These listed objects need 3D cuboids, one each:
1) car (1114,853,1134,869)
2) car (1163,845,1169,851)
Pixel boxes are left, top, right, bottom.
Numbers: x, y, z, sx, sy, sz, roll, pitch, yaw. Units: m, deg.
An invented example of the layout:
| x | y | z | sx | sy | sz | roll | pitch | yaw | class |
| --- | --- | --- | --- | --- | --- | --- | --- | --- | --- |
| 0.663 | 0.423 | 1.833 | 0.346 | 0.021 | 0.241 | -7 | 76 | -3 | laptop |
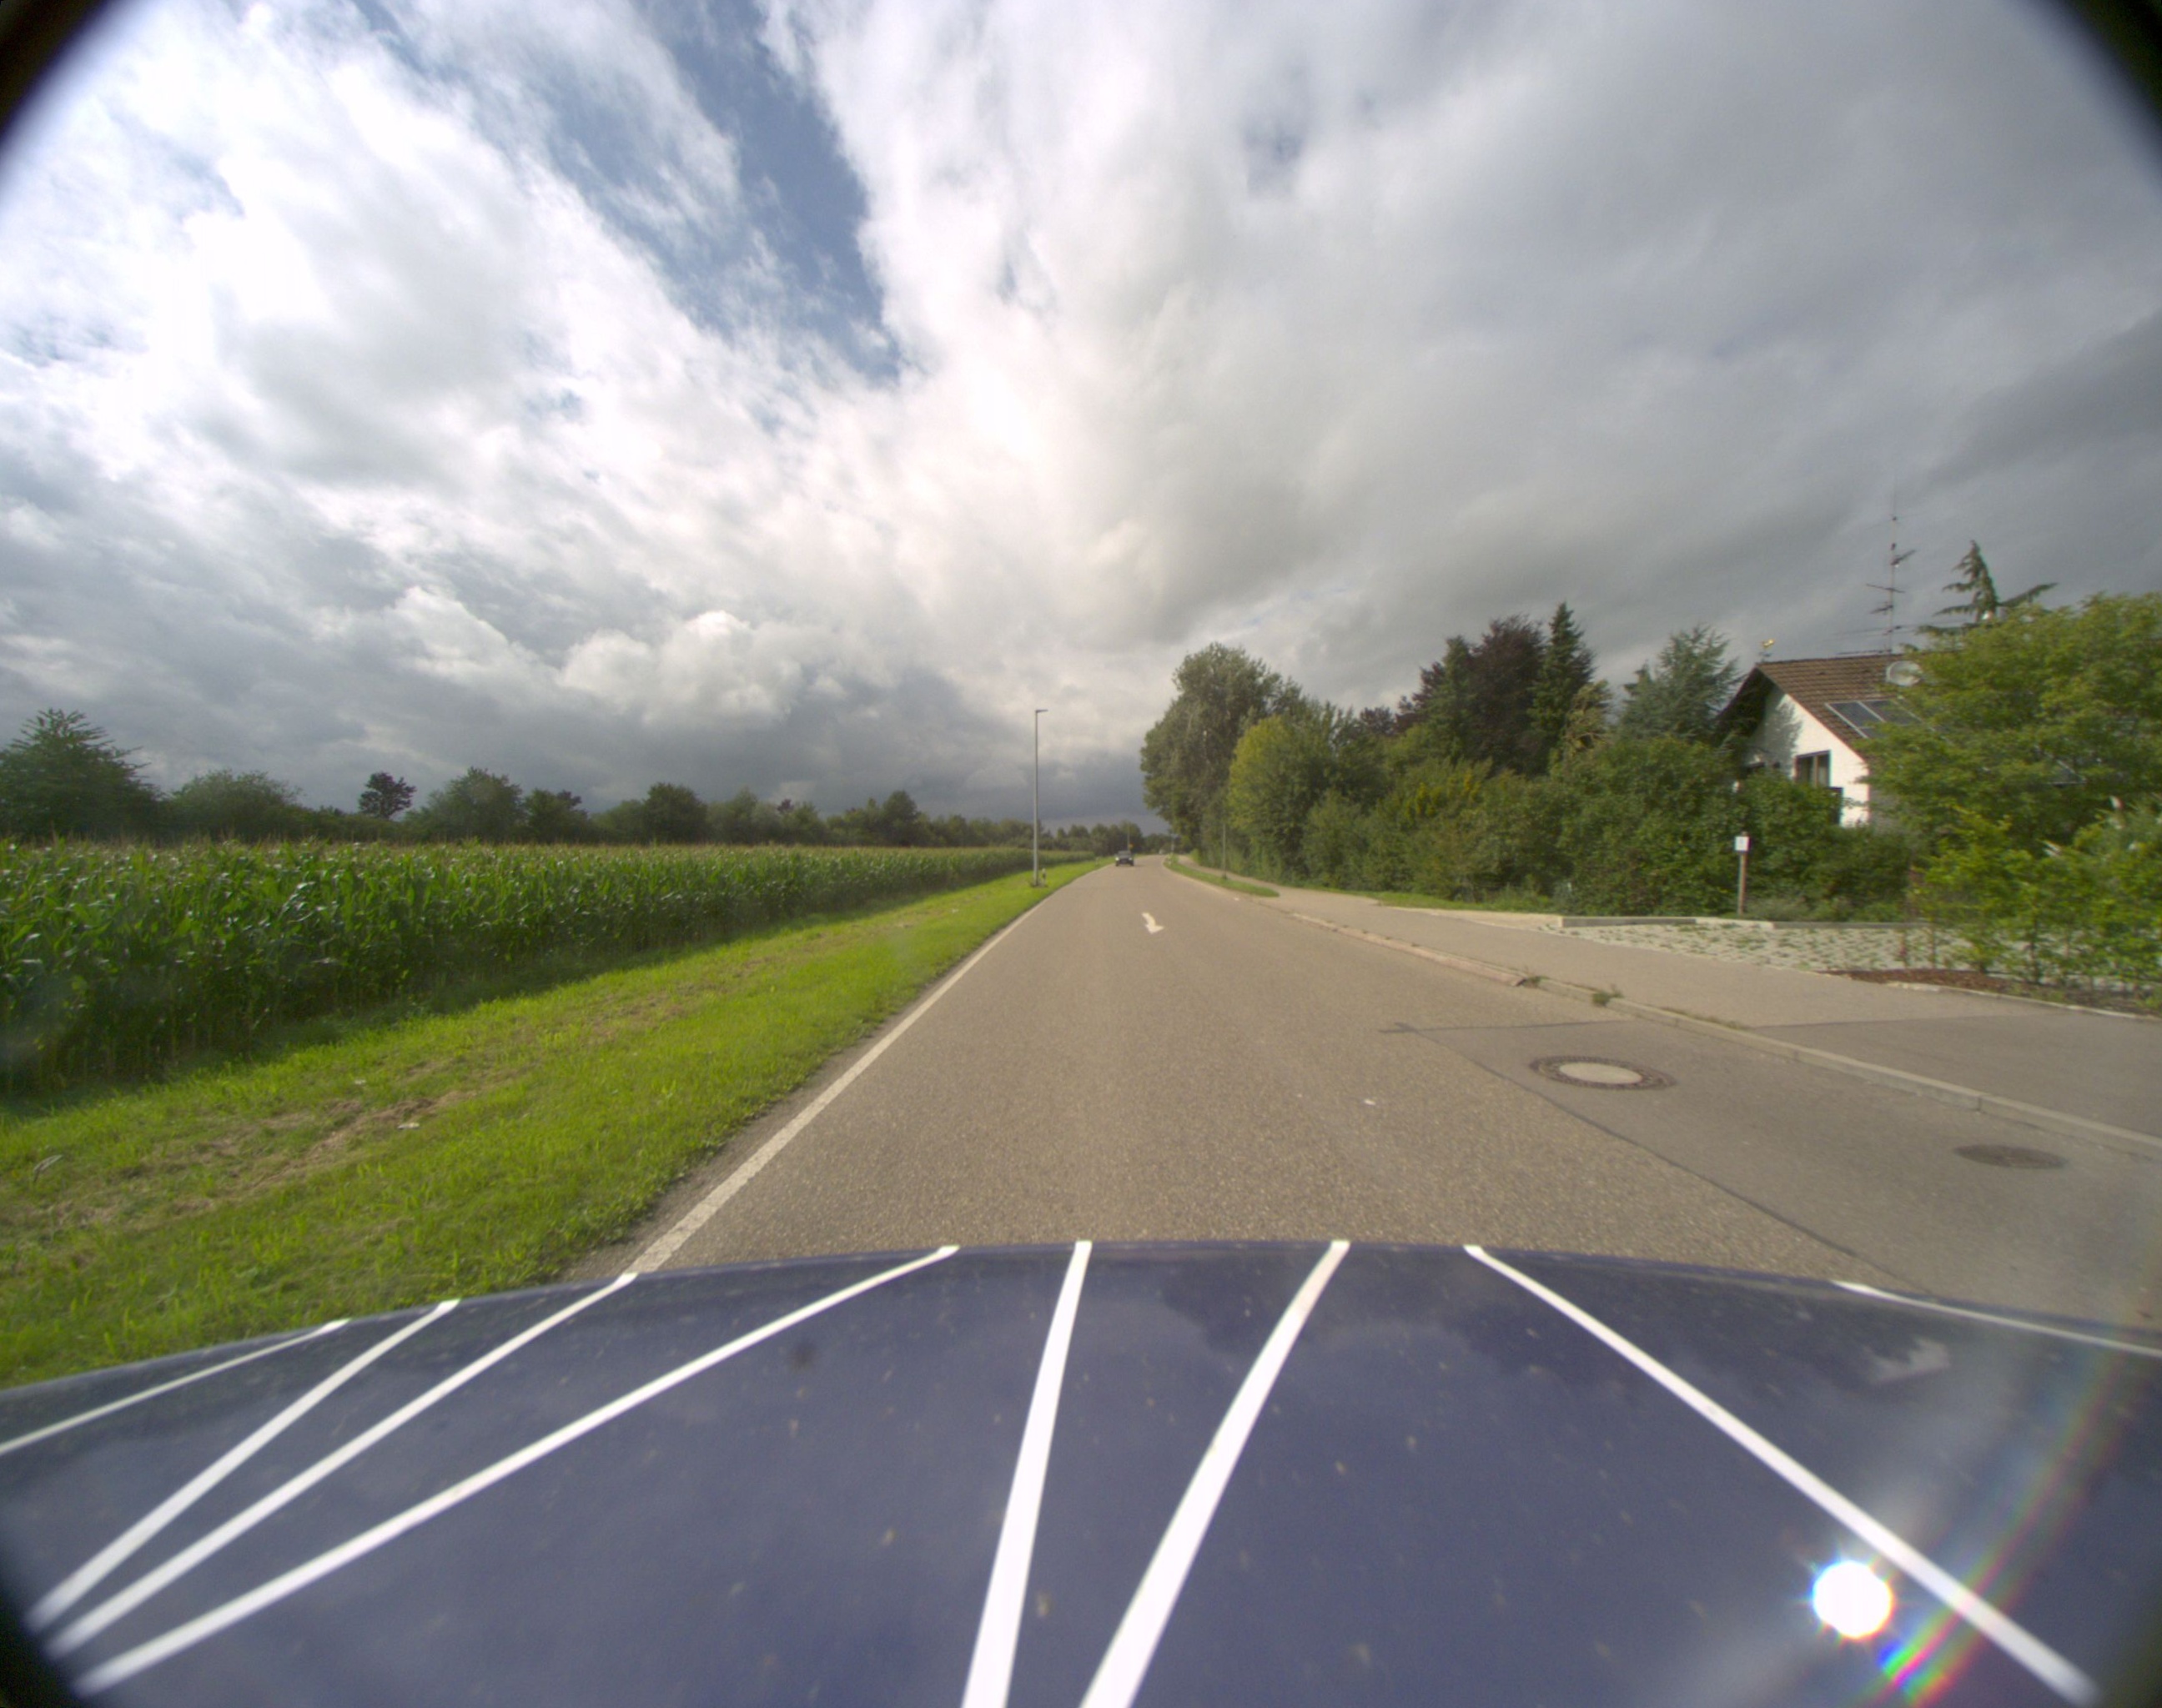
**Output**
| x | y | z | sx | sy | sz | roll | pitch | yaw | class |
| --- | --- | --- | --- | --- | --- | --- | --- | --- | --- |
| 4.685 | 0.764 | 82.799 | 1.998 | 1.594 | 4.001 | -2 | 0 | 6 | car |
| 26.325 | -1.808 | 234.492 | 1.814 | 1.641 | 4.294 | 1 | 1 | 7 | car |
